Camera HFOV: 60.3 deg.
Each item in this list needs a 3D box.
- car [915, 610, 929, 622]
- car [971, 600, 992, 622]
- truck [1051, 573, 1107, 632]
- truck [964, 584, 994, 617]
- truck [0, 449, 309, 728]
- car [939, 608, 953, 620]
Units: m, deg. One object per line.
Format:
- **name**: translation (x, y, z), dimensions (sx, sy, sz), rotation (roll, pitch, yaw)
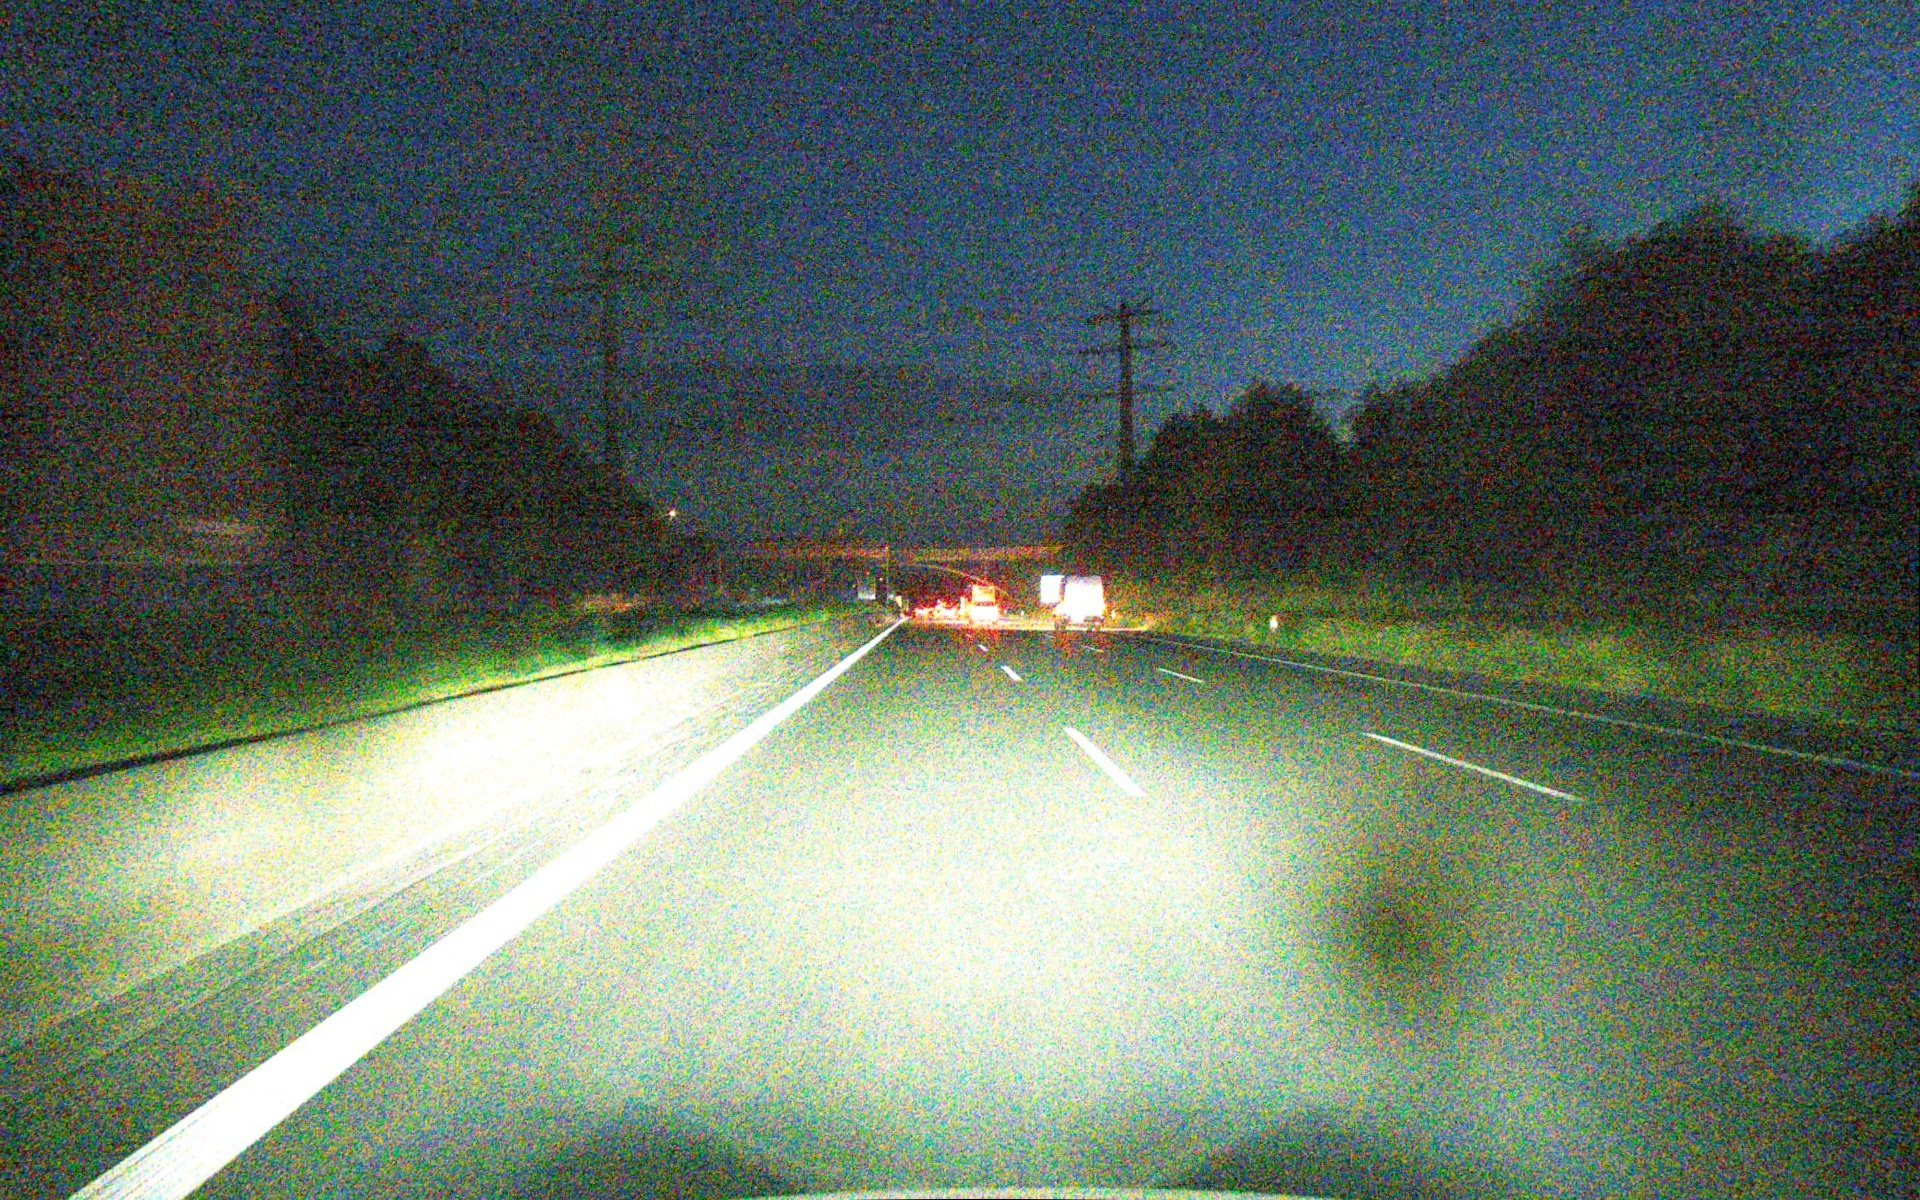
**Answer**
- **car**: translation (-5.069, 2.160, 219.768), dimensions (1.784, 1.492, 4.247), rotation (1, 1, 0)
- **car**: translation (1.396, 0.724, 109.222), dimensions (1.318, 1.411, 3.501), rotation (1, 1, 0)
- **truck**: translation (5.917, 0.174, 83.145), dimensions (2.035, 2.738, 7.303), rotation (1, -2, -2)
- **truck**: translation (1.962, -0.022, 174.690), dimensions (2.982, 3.383, 10.141), rotation (1, 1, -1)
- **truck**: translation (-16.290, -0.160, 29.210), dimensions (3.050, 4.276, 16.975), rotation (-2, 1, -1)
- **car**: translation (-1.809, 1.822, 215.559), dimensions (1.784, 1.492, 4.247), rotation (1, 1, 0)
